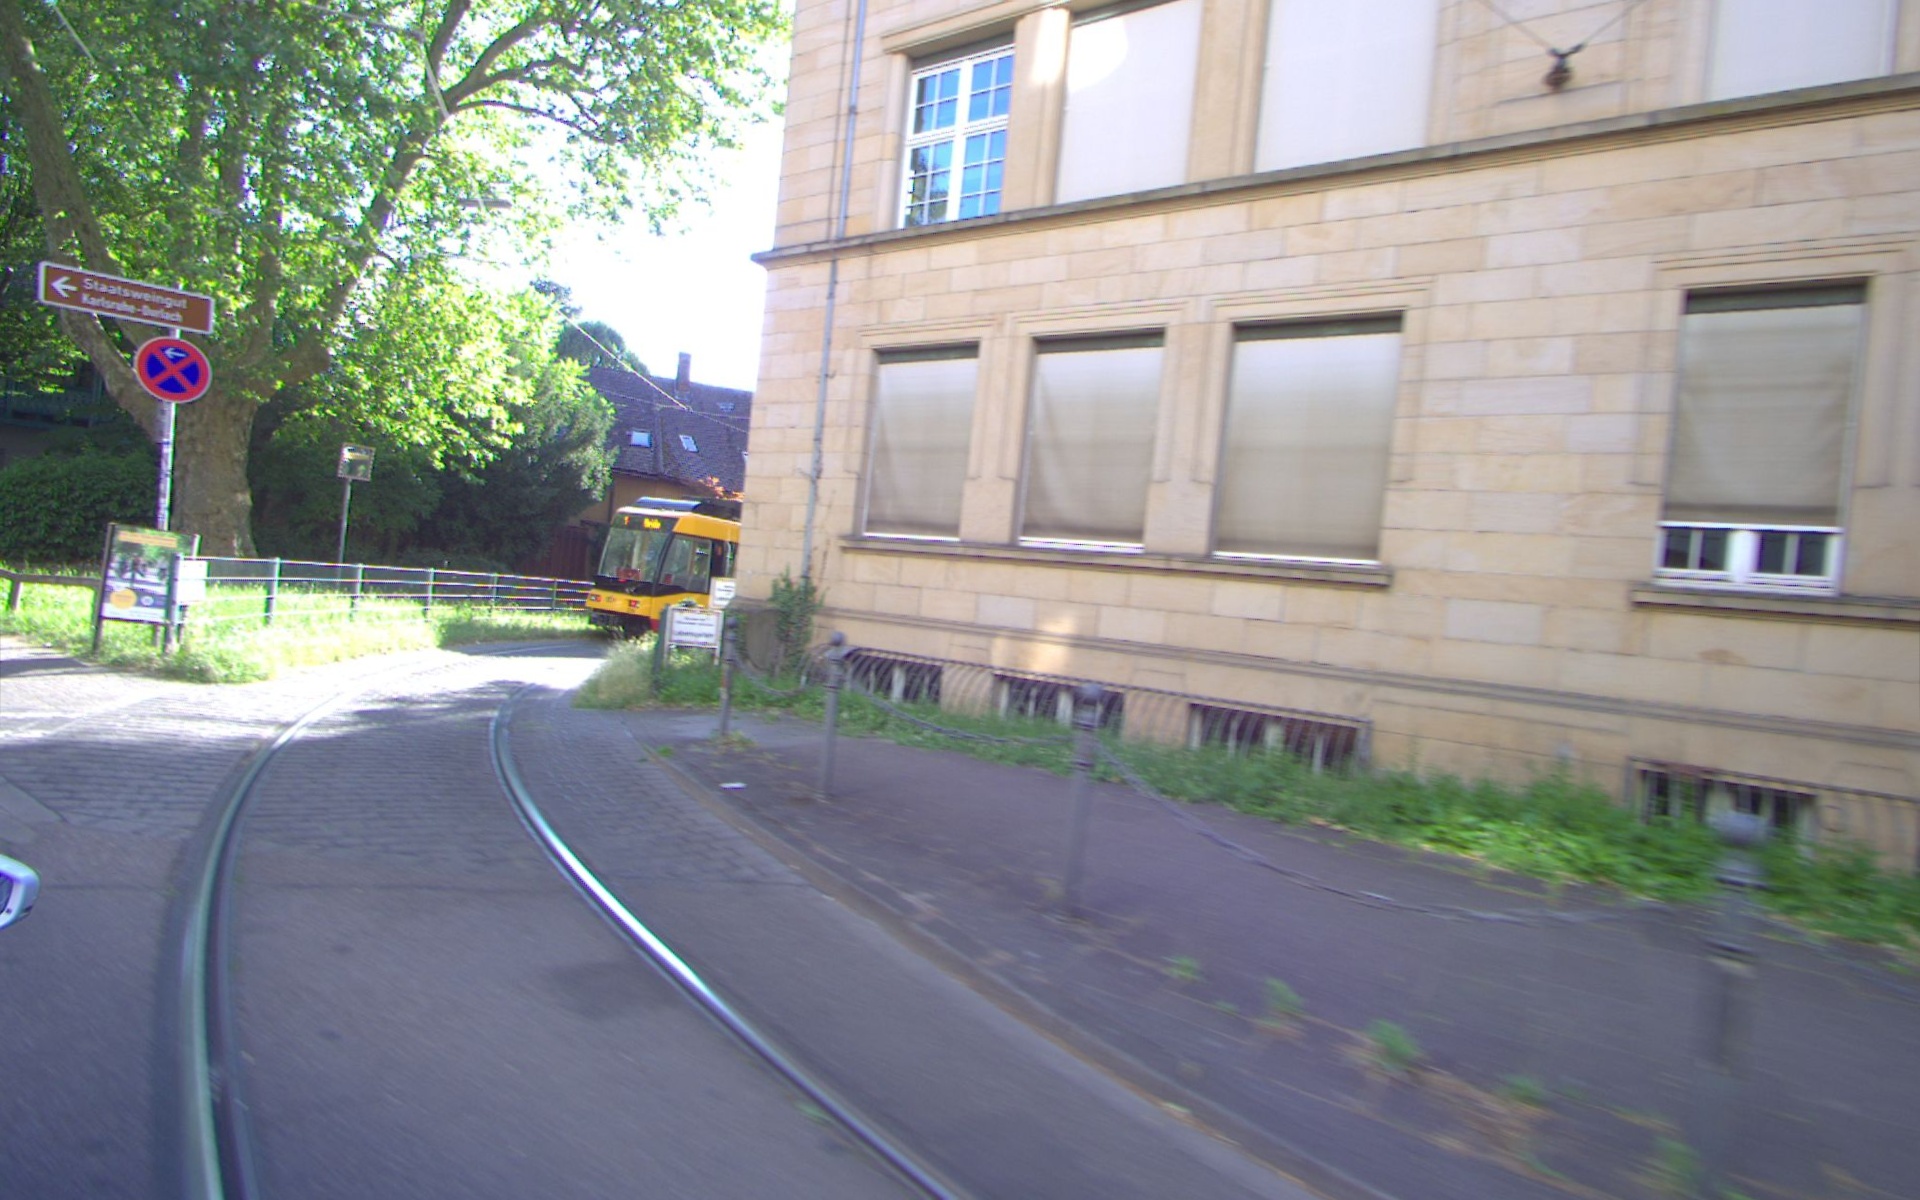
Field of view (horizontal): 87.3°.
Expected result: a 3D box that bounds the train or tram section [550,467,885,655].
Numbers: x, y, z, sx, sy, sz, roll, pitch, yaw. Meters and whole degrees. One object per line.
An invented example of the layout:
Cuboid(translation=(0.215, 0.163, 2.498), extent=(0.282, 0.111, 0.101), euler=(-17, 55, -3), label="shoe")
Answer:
Cuboid(translation=(-5.594, -0.668, 25.652), extent=(2.749, 3.561, 9.264), euler=(6, -2, 26), label="train or tram section")
